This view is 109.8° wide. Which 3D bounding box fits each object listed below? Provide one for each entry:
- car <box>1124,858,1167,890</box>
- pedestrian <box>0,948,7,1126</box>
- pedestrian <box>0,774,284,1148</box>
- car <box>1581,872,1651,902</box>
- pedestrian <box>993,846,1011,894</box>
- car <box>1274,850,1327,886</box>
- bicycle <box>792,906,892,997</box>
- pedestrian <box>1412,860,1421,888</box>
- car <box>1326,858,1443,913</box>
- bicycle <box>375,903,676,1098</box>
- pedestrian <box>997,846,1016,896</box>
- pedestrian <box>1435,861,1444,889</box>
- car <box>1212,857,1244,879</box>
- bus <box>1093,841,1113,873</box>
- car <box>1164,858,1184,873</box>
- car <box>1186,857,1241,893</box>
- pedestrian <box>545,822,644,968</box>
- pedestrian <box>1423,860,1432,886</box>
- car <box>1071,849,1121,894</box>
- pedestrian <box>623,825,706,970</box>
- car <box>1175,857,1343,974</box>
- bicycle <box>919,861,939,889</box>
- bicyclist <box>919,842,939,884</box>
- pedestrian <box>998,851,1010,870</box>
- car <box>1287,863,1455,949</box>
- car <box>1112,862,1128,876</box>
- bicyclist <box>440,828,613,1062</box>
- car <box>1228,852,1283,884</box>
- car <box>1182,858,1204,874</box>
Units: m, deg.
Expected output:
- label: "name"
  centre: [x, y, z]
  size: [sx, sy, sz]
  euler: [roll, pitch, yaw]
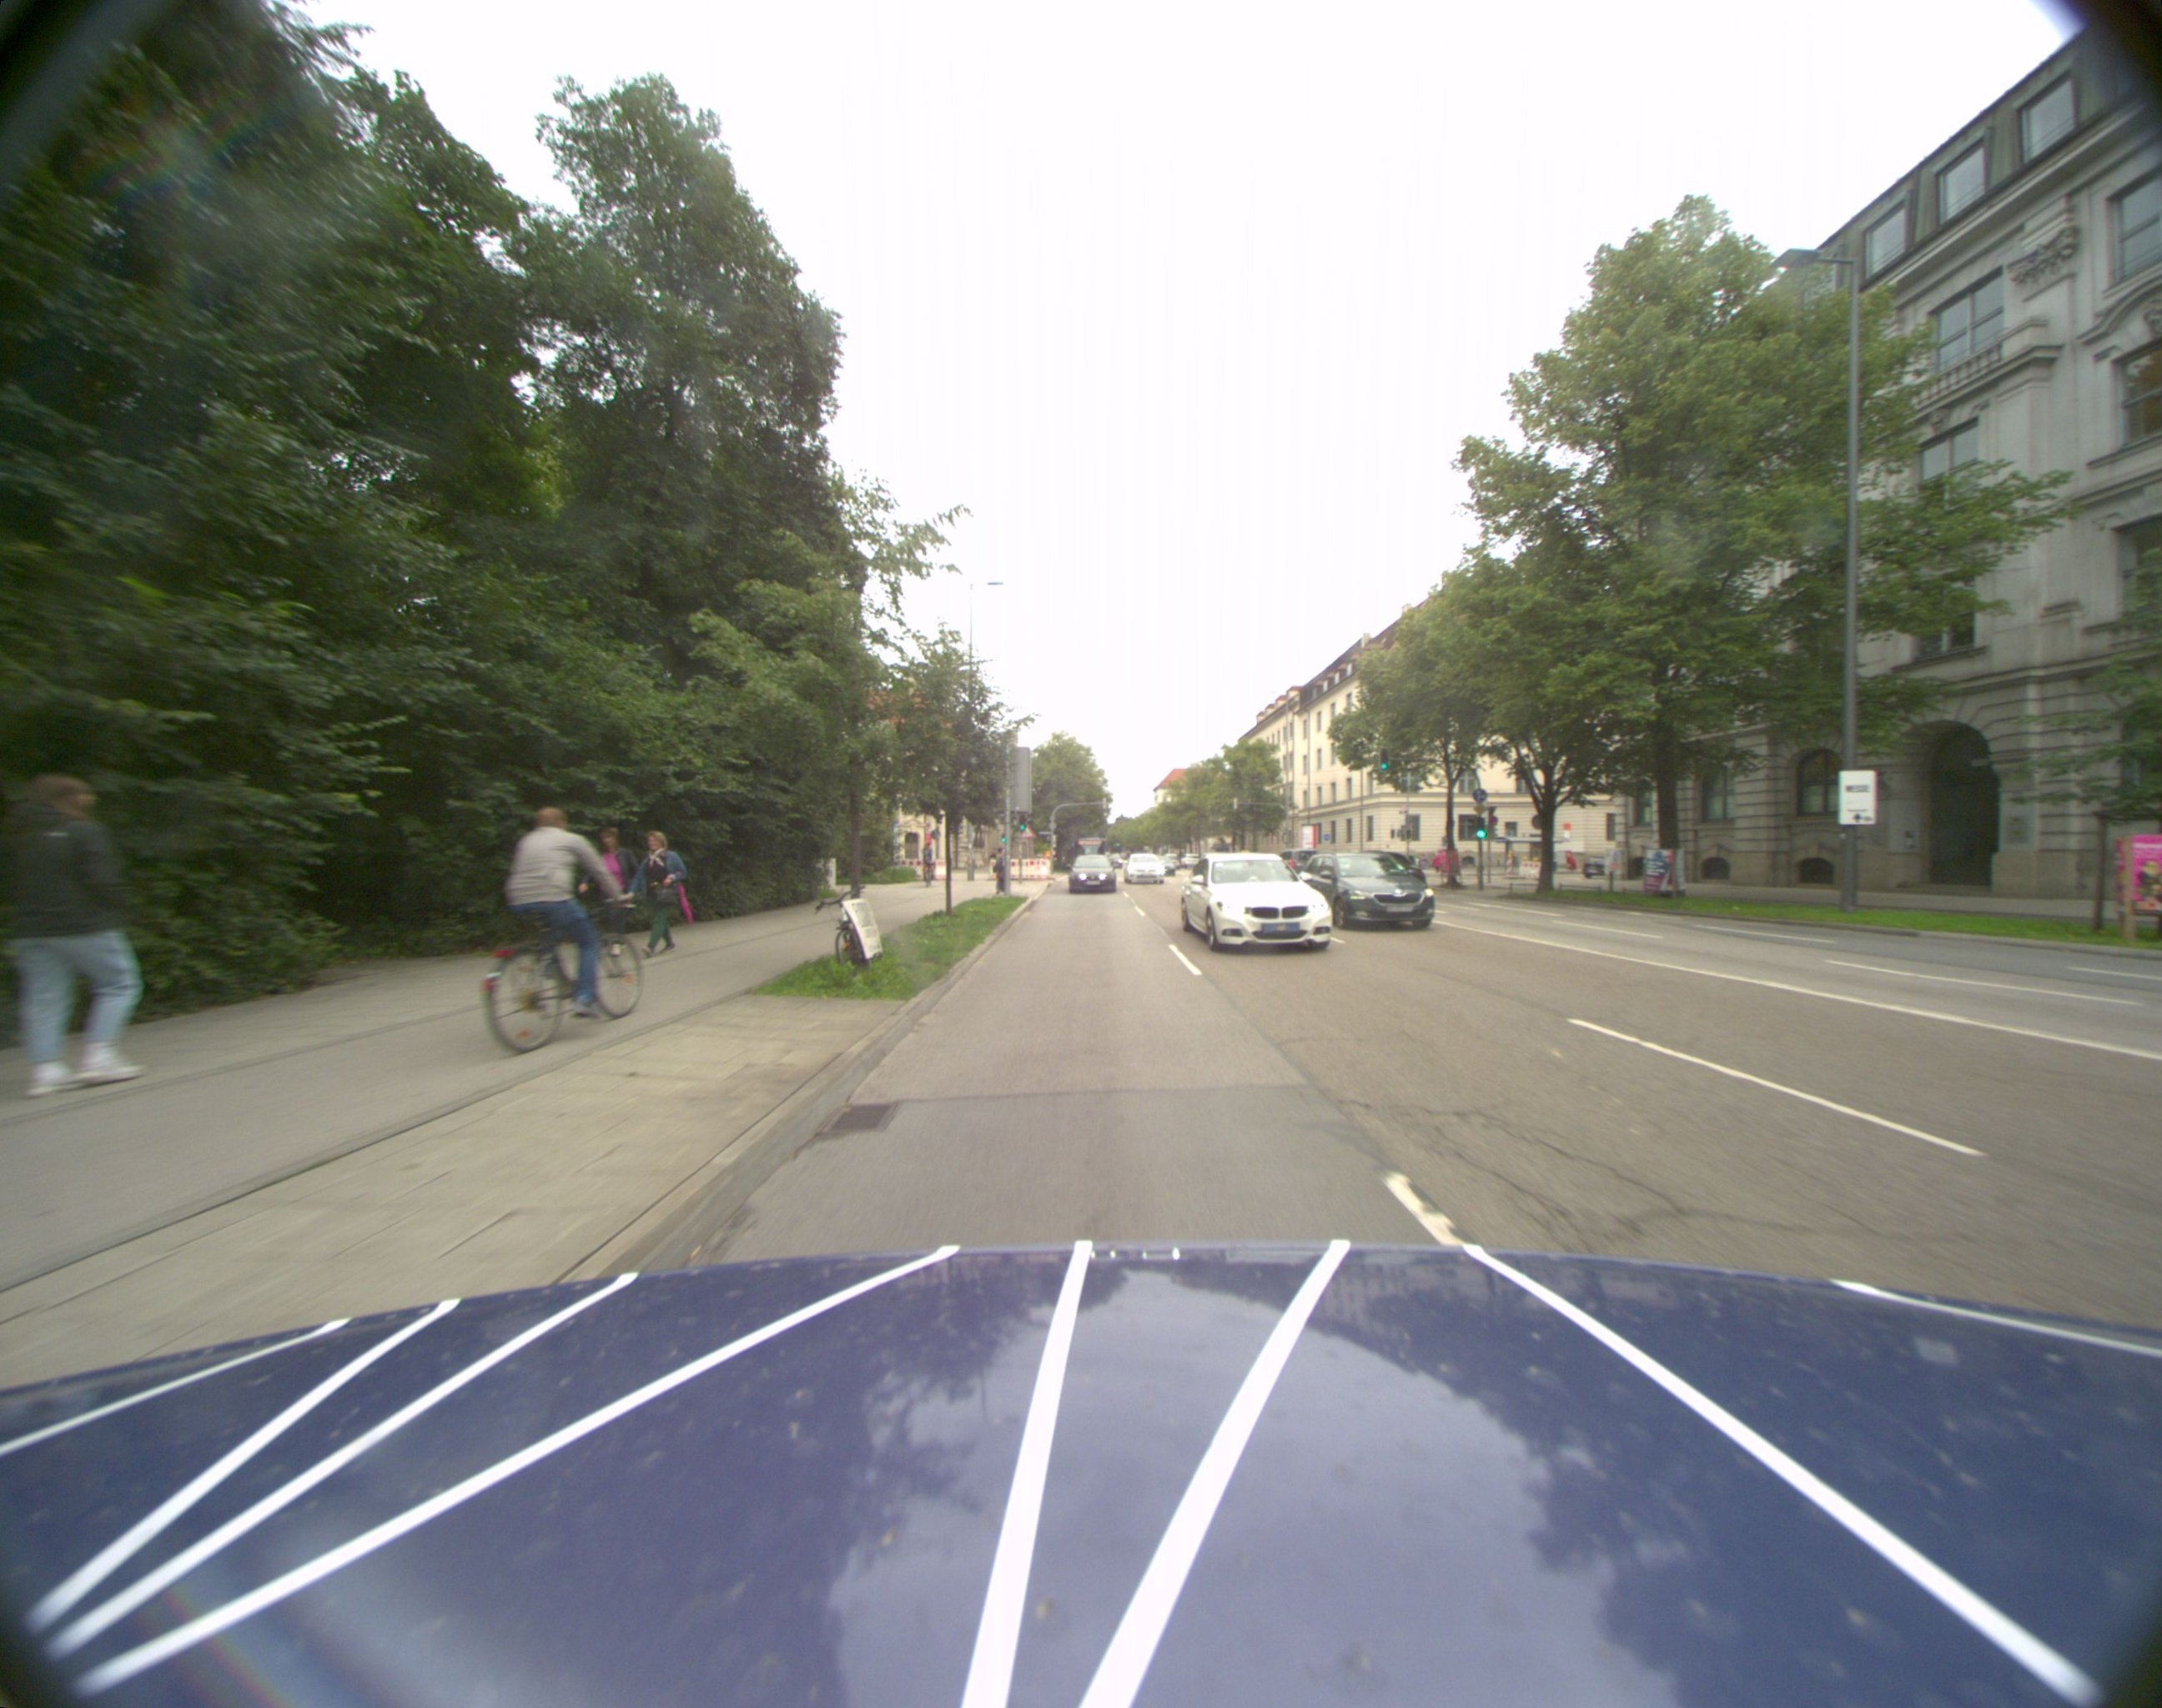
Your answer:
- label: "car"
  centre: [3.114, 0.954, 37.306]
  size: [1.797, 1.439, 4.275]
  euler: [0, 0, 0]
- label: "pedestrian"
  centre: [-6.162, 0.509, 3.602]
  size: [0.710, 1.904, 0.956]
  euler: [-2, 0, 1]
- label: "pedestrian"
  centre: [-5.469, 0.554, 4.365]
  size: [0.710, 1.904, 0.956]
  euler: [-2, 0, 1]
- label: "car"
  centre: [32.416, 1.971, 46.048]
  size: [3.576, 1.720, 1.691]
  euler: [0, 0, -18]
- label: "pedestrian"
  centre: [-2.879, 0.582, 27.775]
  size: [0.610, 1.750, 0.635]
  euler: [0, 1, -5]
- label: "car"
  centre: [11.916, 0.717, 41.507]
  size: [1.832, 1.740, 4.260]
  euler: [3, 2, 3]
- label: "bicycle"
  centre: [-2.675, 1.061, 8.712]
  size: [0.494, 0.789, 1.890]
  euler: [-2, 0, 1]
- label: "pedestrian"
  centre: [22.667, 1.334, 51.362]
  size: [0.502, 1.844, 0.528]
  euler: [0, 1, 19]
- label: "car"
  centre: [8.809, 0.847, 22.525]
  size: [1.771, 1.415, 4.748]
  euler: [1, 0, 3]
- label: "bicycle"
  centre: [-3.872, 0.947, 5.566]
  size: [0.676, 1.024, 2.013]
  euler: [-2, 0, 1]
- label: "pedestrian"
  centre: [-2.623, 0.594, 26.844]
  size: [0.626, 1.750, 0.635]
  euler: [0, 0, -4]
- label: "pedestrian"
  centre: [24.209, 1.408, 51.286]
  size: [0.502, 1.844, 0.470]
  euler: [0, 1, 19]
- label: "car"
  centre: [12.062, 1.135, 62.563]
  size: [1.844, 1.646, 4.350]
  euler: [1, 0, 1]
- label: "bus"
  centre: [1.801, 0.285, 64.464]
  size: [1.638, 2.570, 6.702]
  euler: [0, 0, 1]
- label: "car"
  centre: [9.609, 1.194, 78.775]
  size: [1.638, 1.562, 3.946]
  euler: [0, 0, 1]
- label: "car"
  centre: [5.952, 0.919, 34.512]
  size: [1.696, 1.507, 4.338]
  euler: [0, 0, 0]
- label: "pedestrian"
  centre: [-6.389, 0.524, 10.021]
  size: [0.753, 1.828, 0.756]
  euler: [-2, 0, 2]
- label: "pedestrian"
  centre: [23.359, 1.256, 51.207]
  size: [0.502, 1.729, 0.470]
  euler: [0, 1, 19]
- label: "car"
  centre: [0.539, 0.634, 29.621]
  size: [1.797, 1.627, 4.275]
  euler: [0, 0, 0]
- label: "pedestrian"
  centre: [-5.453, 0.560, 9.976]
  size: [0.672, 1.828, 0.641]
  euler: [-2, 0, 2]
- label: "car"
  centre: [2.841, 0.883, 13.325]
  size: [1.797, 1.627, 5.026]
  euler: [0, 0, 0]
- label: "bicycle"
  centre: [-6.130, 0.833, 30.809]
  size: [0.740, 1.051, 2.161]
  euler: [-2, 0, -11]
- label: "bicyclist"
  centre: [-6.166, 0.354, 30.844]
  size: [0.759, 1.657, 0.898]
  euler: [-2, 0, -11]
- label: "pedestrian"
  centre: [-7.433, 0.648, 73.262]
  size: [1.068, 1.754, 0.774]
  euler: [-2, 0, -9]
- label: "car"
  centre: [5.653, 0.936, 15.435]
  size: [1.797, 1.439, 4.275]
  euler: [0, 0, 0]
- label: "car"
  centre: [4.322, 1.628, 84.033]
  size: [1.638, 1.562, 3.946]
  euler: [0, 0, 1]
- label: "bicyclist"
  centre: [-3.916, 0.611, 5.413]
  size: [0.710, 1.552, 0.639]
  euler: [-2, 0, 1]
- label: "car"
  centre: [8.844, 0.764, 38.884]
  size: [1.832, 1.532, 4.825]
  euler: [0, -2, 2]
- label: "car"
  centre: [12.113, 1.263, 82.078]
  size: [1.748, 1.586, 4.000]
  euler: [2, 0, 0]
